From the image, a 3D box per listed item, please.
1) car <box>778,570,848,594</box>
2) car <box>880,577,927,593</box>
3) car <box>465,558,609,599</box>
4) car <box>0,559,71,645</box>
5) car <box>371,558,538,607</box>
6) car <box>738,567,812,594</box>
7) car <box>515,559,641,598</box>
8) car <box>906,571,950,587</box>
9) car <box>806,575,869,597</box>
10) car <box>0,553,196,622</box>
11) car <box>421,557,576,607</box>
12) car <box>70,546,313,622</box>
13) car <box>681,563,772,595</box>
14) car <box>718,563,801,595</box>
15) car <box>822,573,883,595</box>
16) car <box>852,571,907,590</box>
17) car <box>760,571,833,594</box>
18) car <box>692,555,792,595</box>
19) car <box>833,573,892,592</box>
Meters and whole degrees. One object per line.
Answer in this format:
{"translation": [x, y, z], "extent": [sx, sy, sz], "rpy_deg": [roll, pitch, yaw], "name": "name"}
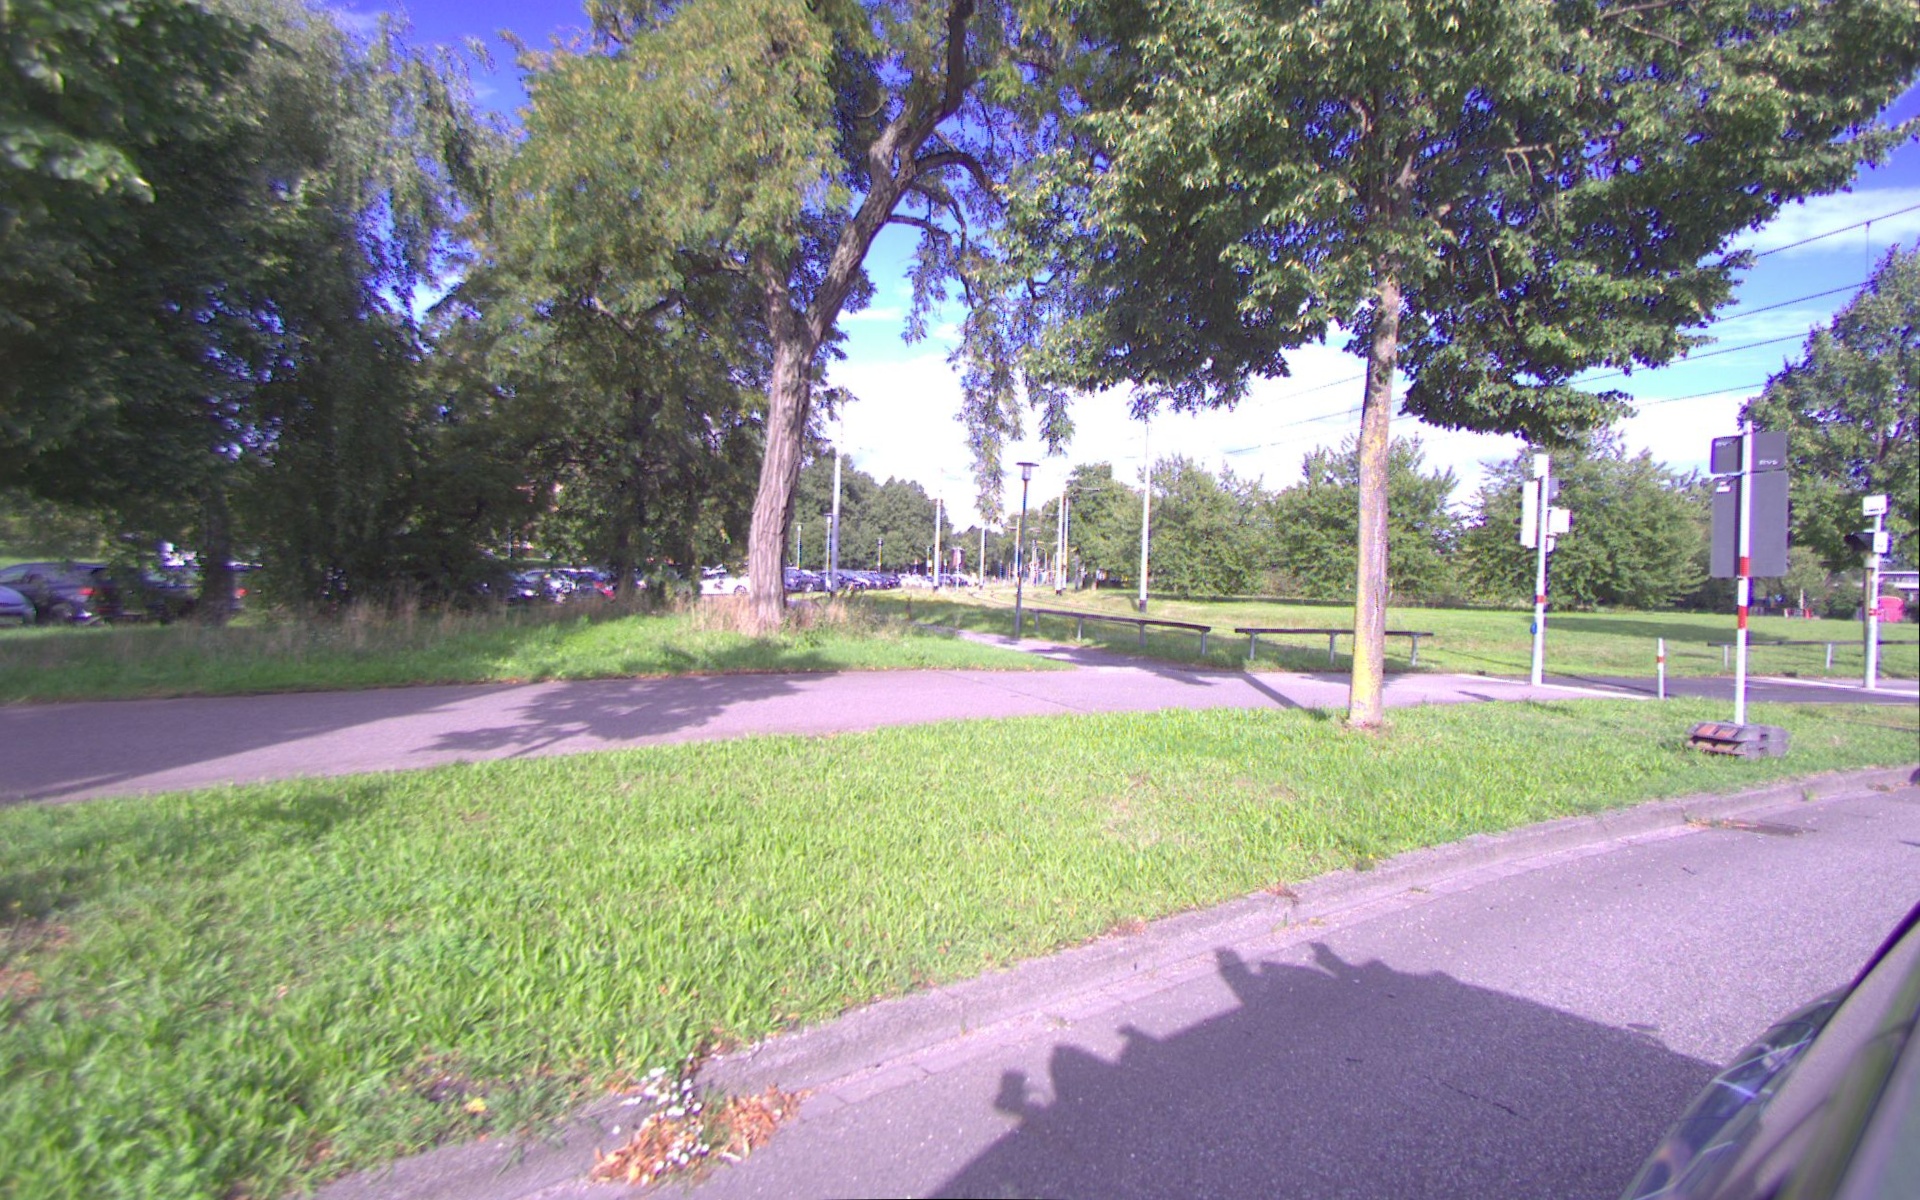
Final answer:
{"translation": [-10.046, -1.248, 69.275], "extent": [4.404, 1.523, 1.853], "rpy_deg": [2, 1, 15], "name": "car"}
{"translation": [-5.610, -1.526, 100.917], "extent": [4.400, 1.494, 1.793], "rpy_deg": [2, 1, 12], "name": "car"}
{"translation": [-15.760, -0.810, 37.794], "extent": [4.758, 1.375, 1.855], "rpy_deg": [2, 1, 11], "name": "car"}
{"translation": [-18.798, -0.033, 18.163], "extent": [4.659, 1.457, 1.855], "rpy_deg": [2, 1, 11], "name": "car"}
{"translation": [-16.200, -0.580, 32.503], "extent": [4.659, 1.376, 1.855], "rpy_deg": [2, 1, 11], "name": "car"}
{"translation": [-11.368, -1.212, 62.259], "extent": [4.060, 1.534, 2.024], "rpy_deg": [2, 2, 19], "name": "car"}
{"translation": [-15.191, -0.857, 40.285], "extent": [4.399, 1.379, 1.855], "rpy_deg": [2, 1, 11], "name": "car"}
{"translation": [-3.456, -2.252, 109.344], "extent": [4.417, 1.560, 1.846], "rpy_deg": [2, 2, 22], "name": "car"}
{"translation": [-9.342, -1.093, 77.057], "extent": [4.404, 1.534, 1.795], "rpy_deg": [2, 1, 15], "name": "car"}
{"translation": [-18.241, -0.301, 20.461], "extent": [4.659, 1.222, 1.855], "rpy_deg": [2, 2, 11], "name": "car"}
{"translation": [-15.882, -0.631, 34.900], "extent": [4.673, 1.534, 1.855], "rpy_deg": [2, 1, 11], "name": "car"}
{"translation": [-17.610, -0.392, 23.248], "extent": [4.659, 1.534, 1.855], "rpy_deg": [2, 1, 11], "name": "car"}
{"translation": [-12.468, -1.126, 54.256], "extent": [4.388, 1.534, 1.860], "rpy_deg": [2, 1, 4], "name": "car"}
{"translation": [-11.903, -1.256, 60.114], "extent": [4.412, 1.695, 2.090], "rpy_deg": [2, 2, 19], "name": "car"}
{"translation": [-8.447, -1.256, 79.527], "extent": [4.404, 1.560, 1.851], "rpy_deg": [2, 1, 15], "name": "car"}
{"translation": [-7.059, -1.718, 88.760], "extent": [4.404, 1.560, 1.851], "rpy_deg": [2, 1, 15], "name": "car"}
{"translation": [-10.747, -1.162, 66.631], "extent": [4.404, 1.416, 1.853], "rpy_deg": [2, 1, 15], "name": "car"}
{"translation": [-12.256, -1.426, 57.045], "extent": [5.039, 2.032, 2.307], "rpy_deg": [2, 1, 15], "name": "car"}
{"translation": [-8.032, -1.438, 83.430], "extent": [4.404, 1.471, 1.851], "rpy_deg": [2, 1, 15], "name": "car"}
